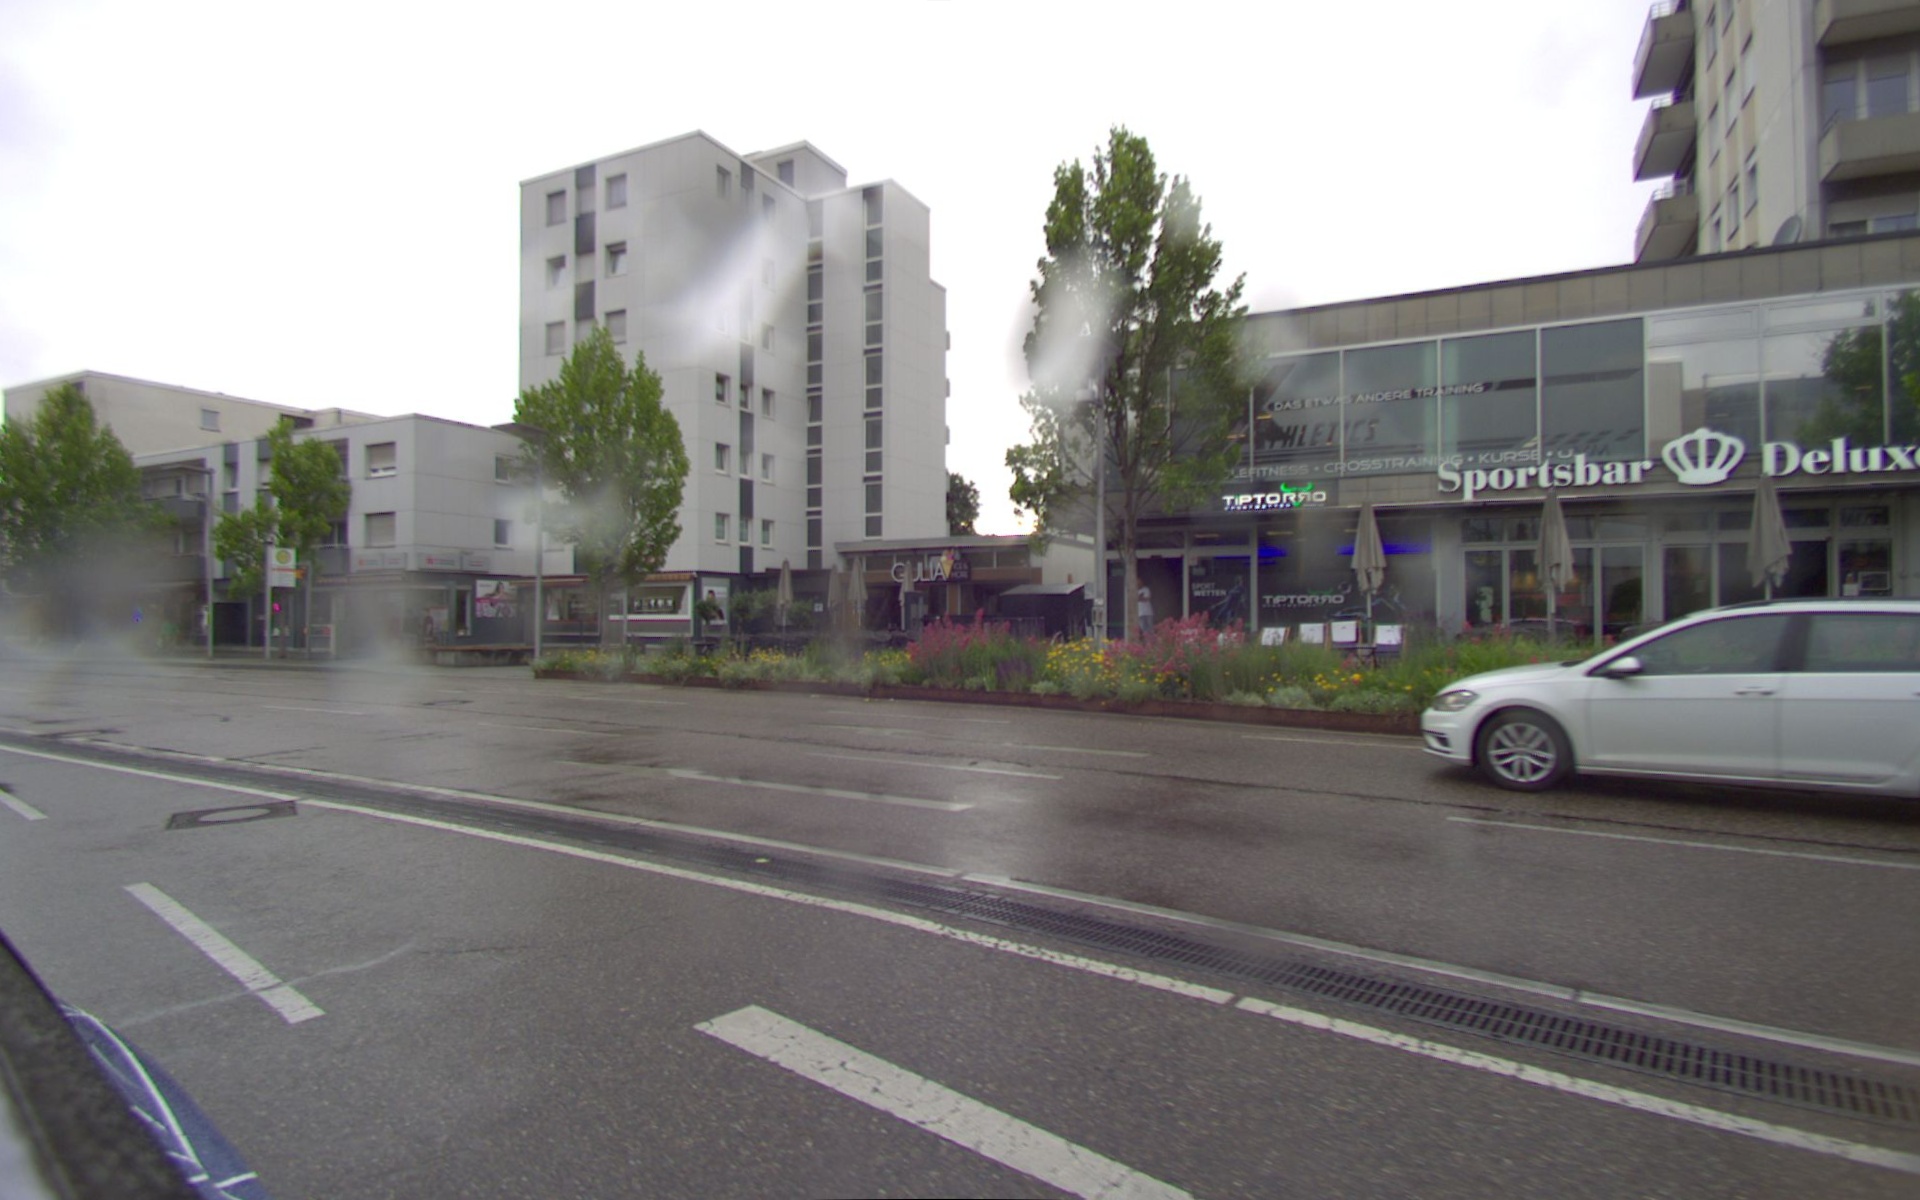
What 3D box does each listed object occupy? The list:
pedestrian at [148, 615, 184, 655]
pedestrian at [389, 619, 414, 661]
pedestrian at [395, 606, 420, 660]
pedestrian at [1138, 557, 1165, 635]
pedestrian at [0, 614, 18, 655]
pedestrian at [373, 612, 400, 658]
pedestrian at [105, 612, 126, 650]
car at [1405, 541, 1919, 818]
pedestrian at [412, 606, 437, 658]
[{"bbox_3d":[-33.954,1.499,43.270,0.723,1.658,1.002,-1,0,26],"label":"pedestrian"},{"bbox_3d":[-18.334,1.317,33.220,0.577,1.363,0.531,-1,-1,32],"label":"pedestrian"},{"bbox_3d":[-17.416,1.040,31.897,0.534,1.672,0.475,-1,-1,27],"label":"pedestrian"},{"bbox_3d":[4.618,-0.100,24.393,0.500,1.862,0.422,-1,-1,37],"label":"pedestrian"},{"bbox_3d":[-46.961,1.690,49.580,0.972,2.029,0.898,-2,-1,26],"label":"pedestrian"},{"bbox_3d":[-19.113,1.153,33.735,0.607,1.516,0.536,-1,-1,3],"label":"pedestrian"},{"bbox_3d":[-40.193,1.483,48.161,0.677,1.763,0.544,-2,-1,28],"label":"pedestrian"},{"bbox_3d":[5.895,0.488,7.385,4.502,1.695,1.866,-1,0,40],"label":"car"},{"bbox_3d":[-17.222,1.029,32.564,0.478,1.672,0.531,-1,-1,32],"label":"pedestrian"}]
